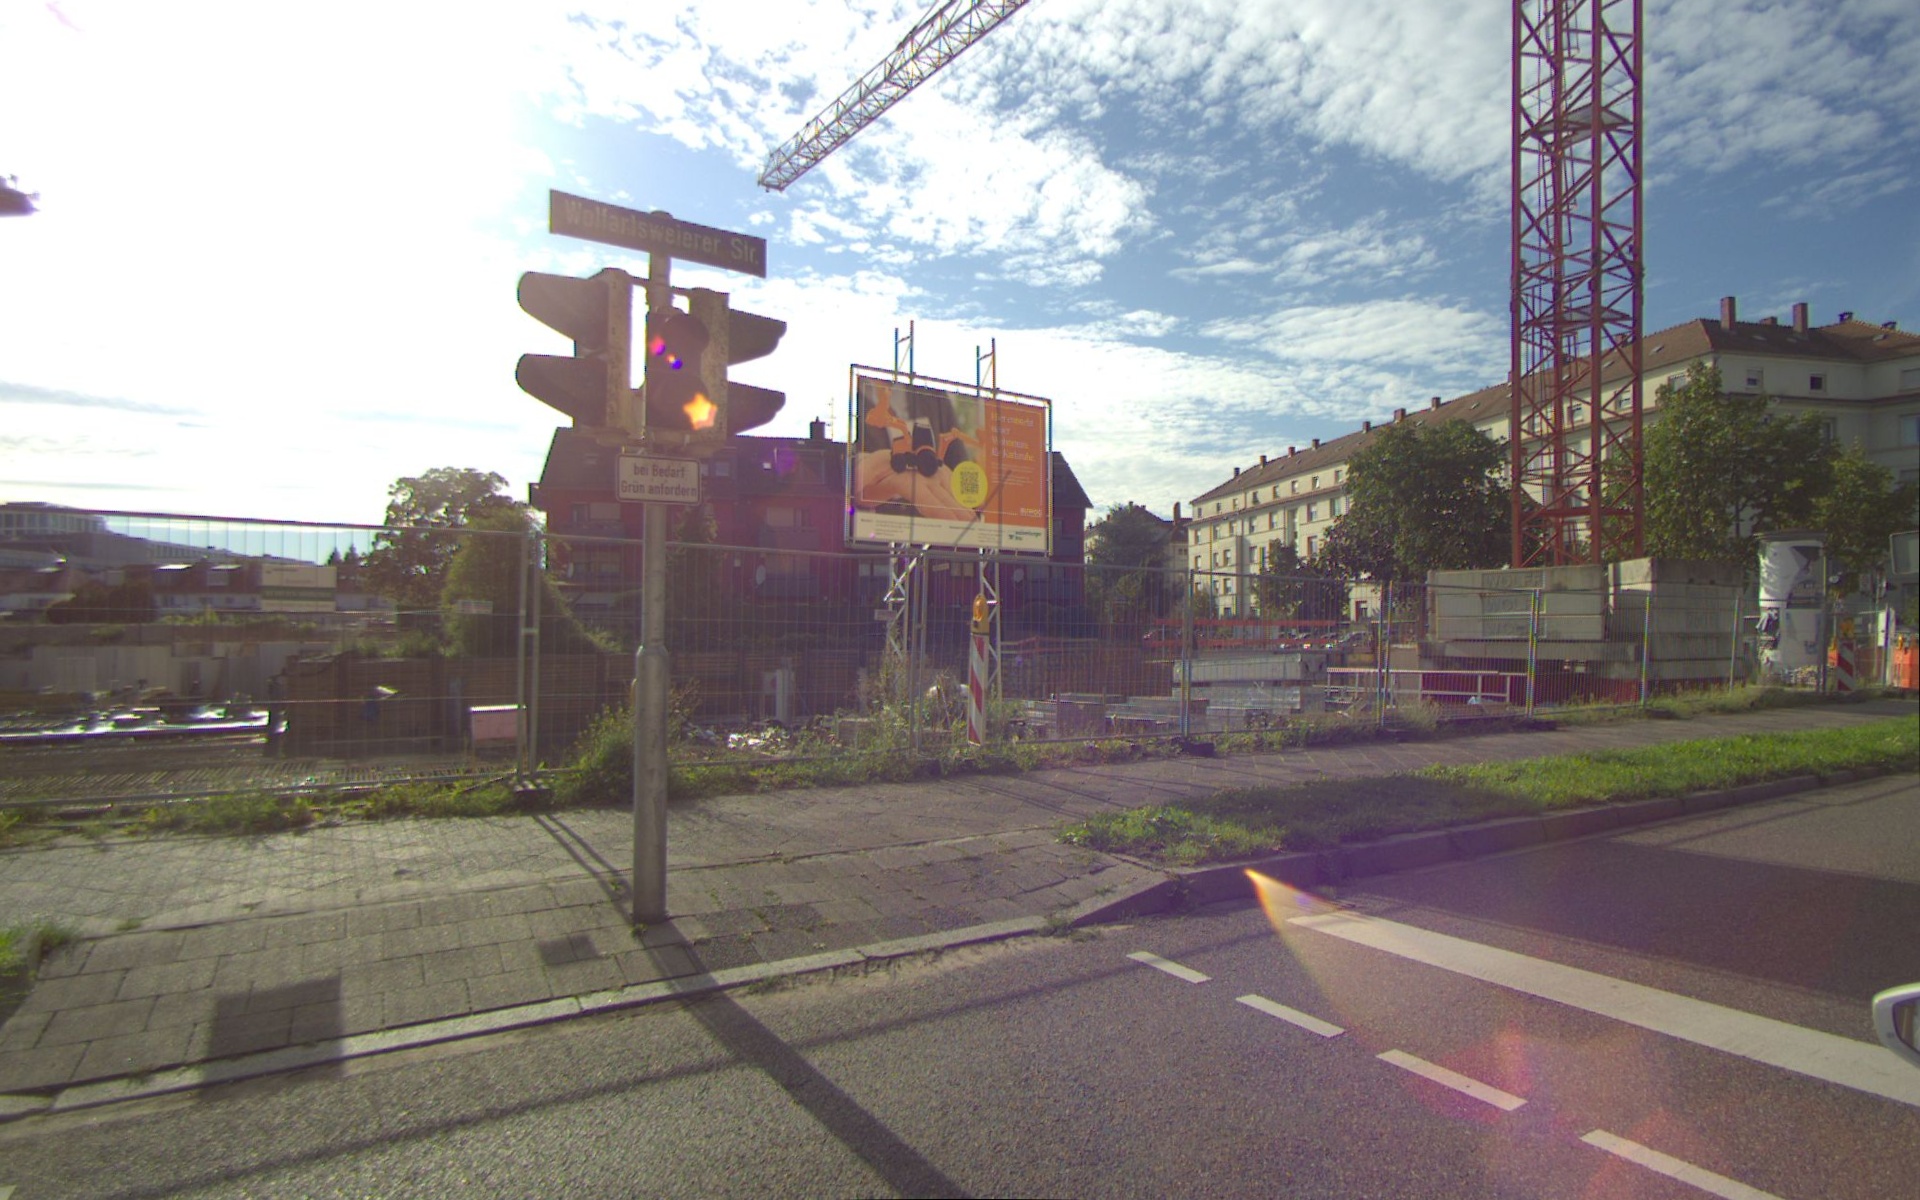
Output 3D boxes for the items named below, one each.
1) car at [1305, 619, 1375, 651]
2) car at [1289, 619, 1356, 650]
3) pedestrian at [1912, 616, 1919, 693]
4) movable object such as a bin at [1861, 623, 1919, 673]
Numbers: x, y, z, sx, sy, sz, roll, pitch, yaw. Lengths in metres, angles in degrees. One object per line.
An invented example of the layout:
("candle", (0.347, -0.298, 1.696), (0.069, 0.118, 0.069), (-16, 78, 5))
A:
("car", (24.839, 2.276, 65.665), (3.938, 2.040, 1.992), (1, -1, -19))
("car", (24.590, 2.324, 68.117), (3.938, 2.040, 1.992), (1, -1, -19))
("pedestrian", (22.741, 1.268, 23.214), (1.170, 1.750, 0.997), (3, -3, -43))
("movable object such as a bin", (34.006, 1.706, 35.343), (1.522, 1.730, 3.103), (1, -1, -16))
